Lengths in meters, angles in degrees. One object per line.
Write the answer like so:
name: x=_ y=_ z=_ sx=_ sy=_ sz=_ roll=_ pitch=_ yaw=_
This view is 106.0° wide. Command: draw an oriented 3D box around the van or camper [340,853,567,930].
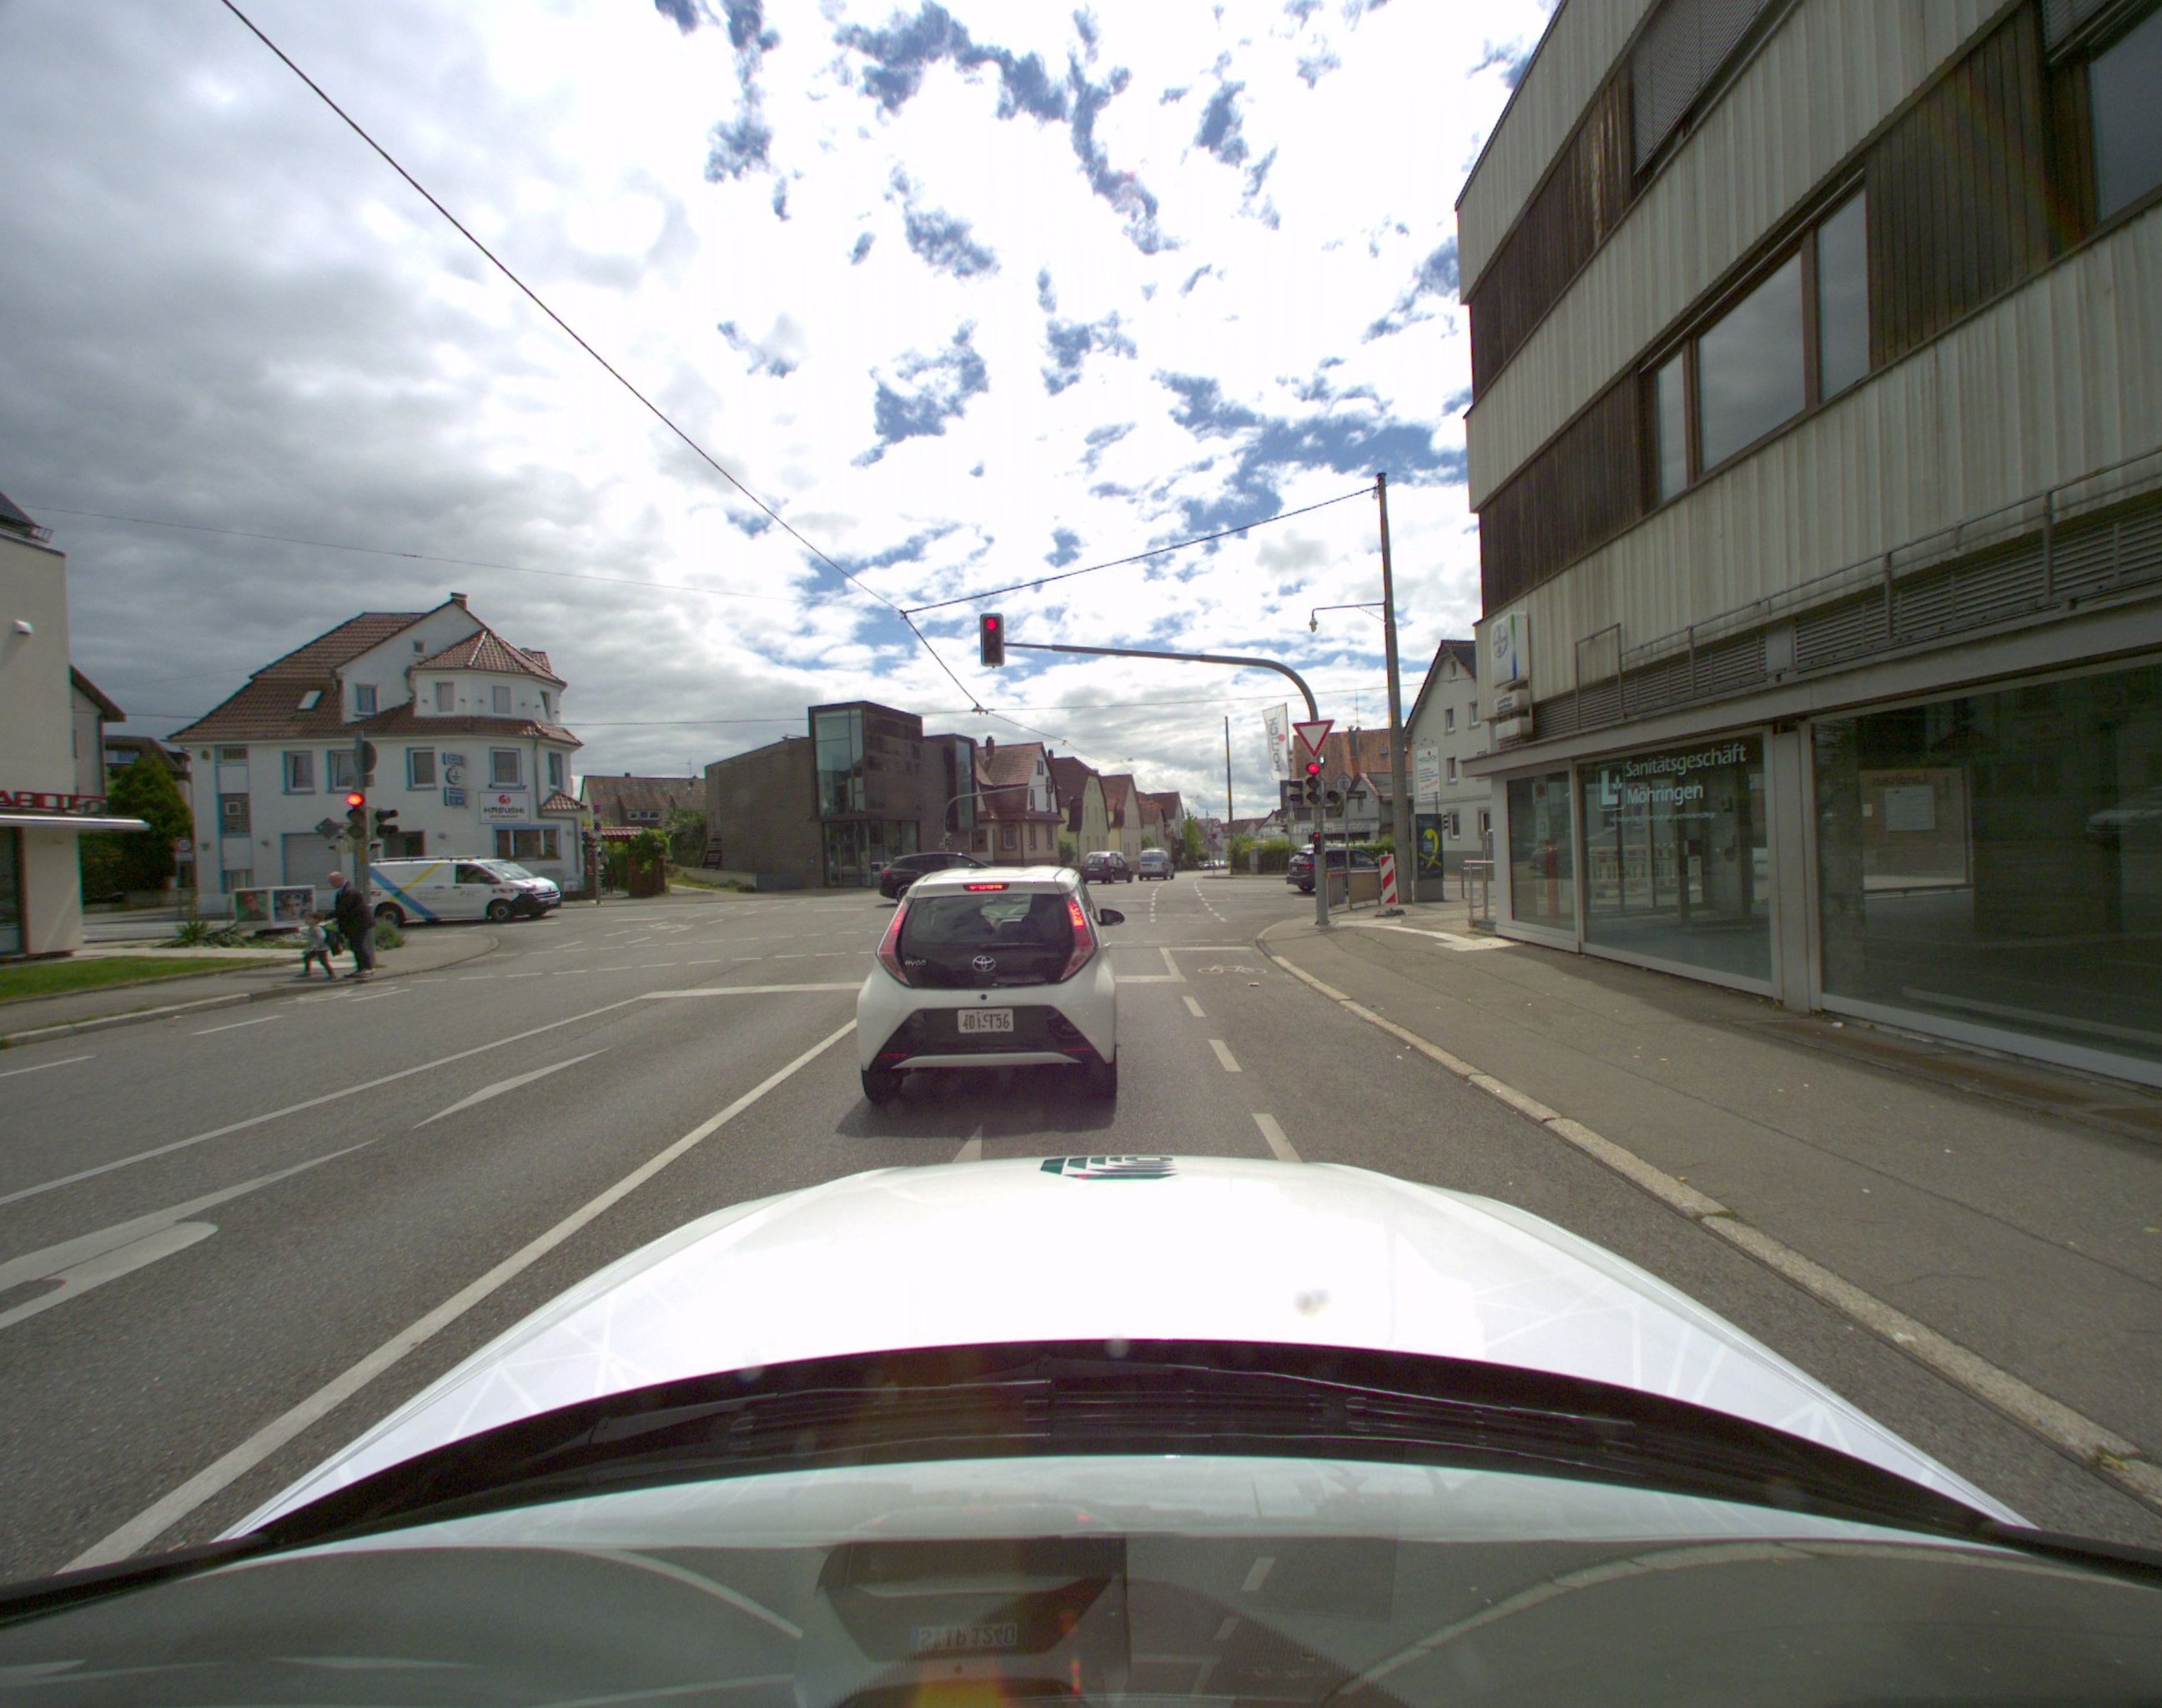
van or camper: x=-19.037 y=1.103 z=24.958 sx=5.113 sy=2.077 sz=1.995 roll=-2 pitch=0 yaw=-8

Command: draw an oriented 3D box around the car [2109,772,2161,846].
car: x=32.128 y=-1.270 z=22.282 sx=4.666 sy=2.014 sz=2.009 roll=-1 pitch=0 yaw=16

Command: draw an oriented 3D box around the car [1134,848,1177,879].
car: x=4.660 y=0.583 z=50.427 sx=1.979 sy=1.849 sz=4.089 roll=-1 pitch=0 yaw=15

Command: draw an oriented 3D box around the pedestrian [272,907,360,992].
pedestrian: x=-11.889 y=1.470 z=12.678 sx=0.732 sy=1.221 sz=0.644 roll=-2 pitch=0 yaw=-6

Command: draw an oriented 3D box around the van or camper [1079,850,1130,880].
van or camper: x=1.657 y=0.717 z=54.584 sx=2.099 sy=1.926 sz=5.308 roll=-1 pitch=0 yaw=17

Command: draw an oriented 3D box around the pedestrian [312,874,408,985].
pedestrian: x=-11.847 y=1.217 z=13.408 sx=0.821 sy=1.721 sz=0.815 roll=-2 pitch=0 yaw=-8

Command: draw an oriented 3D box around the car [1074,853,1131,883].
car: x=1.145 y=0.691 z=41.629 sx=1.979 sy=1.486 sz=4.016 roll=-1 pitch=0 yaw=15

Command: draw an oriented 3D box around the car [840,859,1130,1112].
car: x=-0.560 y=0.779 z=6.439 sx=1.691 sy=1.456 sz=3.298 roll=-1 pitch=0 yaw=0

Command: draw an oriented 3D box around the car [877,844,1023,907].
car: x=-4.204 y=0.656 z=26.653 sx=4.495 sy=1.742 sz=1.996 roll=-2 pitch=2 yaw=-7

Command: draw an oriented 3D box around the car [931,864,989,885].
car: x=-8.477 y=1.445 z=57.109 sx=3.589 sy=1.419 sz=1.697 roll=-1 pitch=0 yaw=13

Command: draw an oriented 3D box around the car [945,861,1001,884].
car: x=-7.831 y=1.352 z=59.219 sx=3.589 sy=1.605 sz=1.697 roll=-1 pitch=0 yaw=13

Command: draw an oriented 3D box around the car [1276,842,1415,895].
car: x=9.389 y=0.498 z=29.079 sx=4.291 sy=1.675 sz=1.994 roll=-2 pitch=0 yaw=-9
